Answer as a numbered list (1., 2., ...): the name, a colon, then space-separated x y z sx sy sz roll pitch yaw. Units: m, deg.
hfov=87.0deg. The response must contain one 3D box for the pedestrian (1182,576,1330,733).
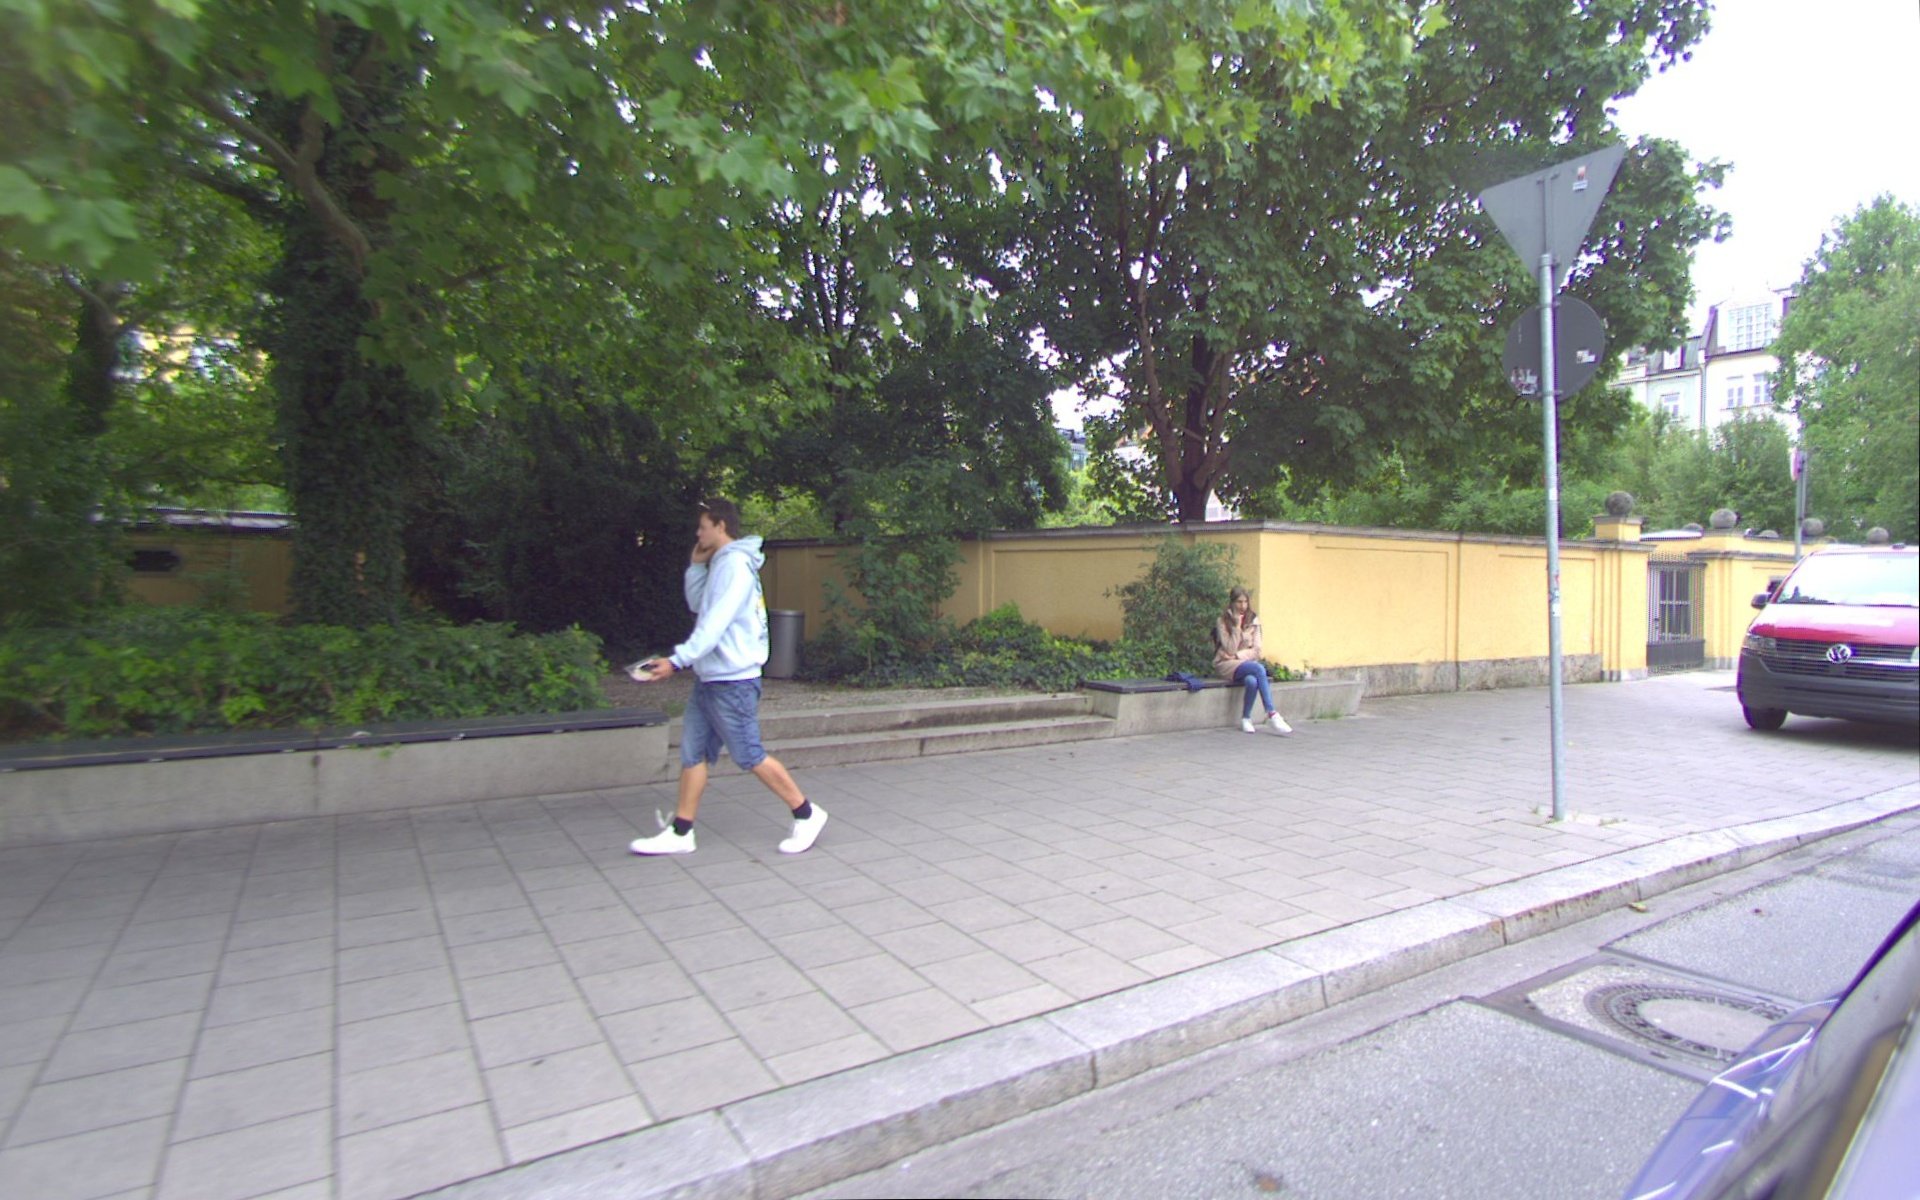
1. pedestrian: 2.729 0.460 9.391 0.859 1.355 1.014 0 1 -28

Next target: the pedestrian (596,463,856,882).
1. pedestrian: -1.166 0.300 4.981 1.031 1.793 0.877 0 1 -31

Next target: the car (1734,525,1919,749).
1. car: 10.150 0.311 10.480 4.792 1.945 1.880 0 0 -33
